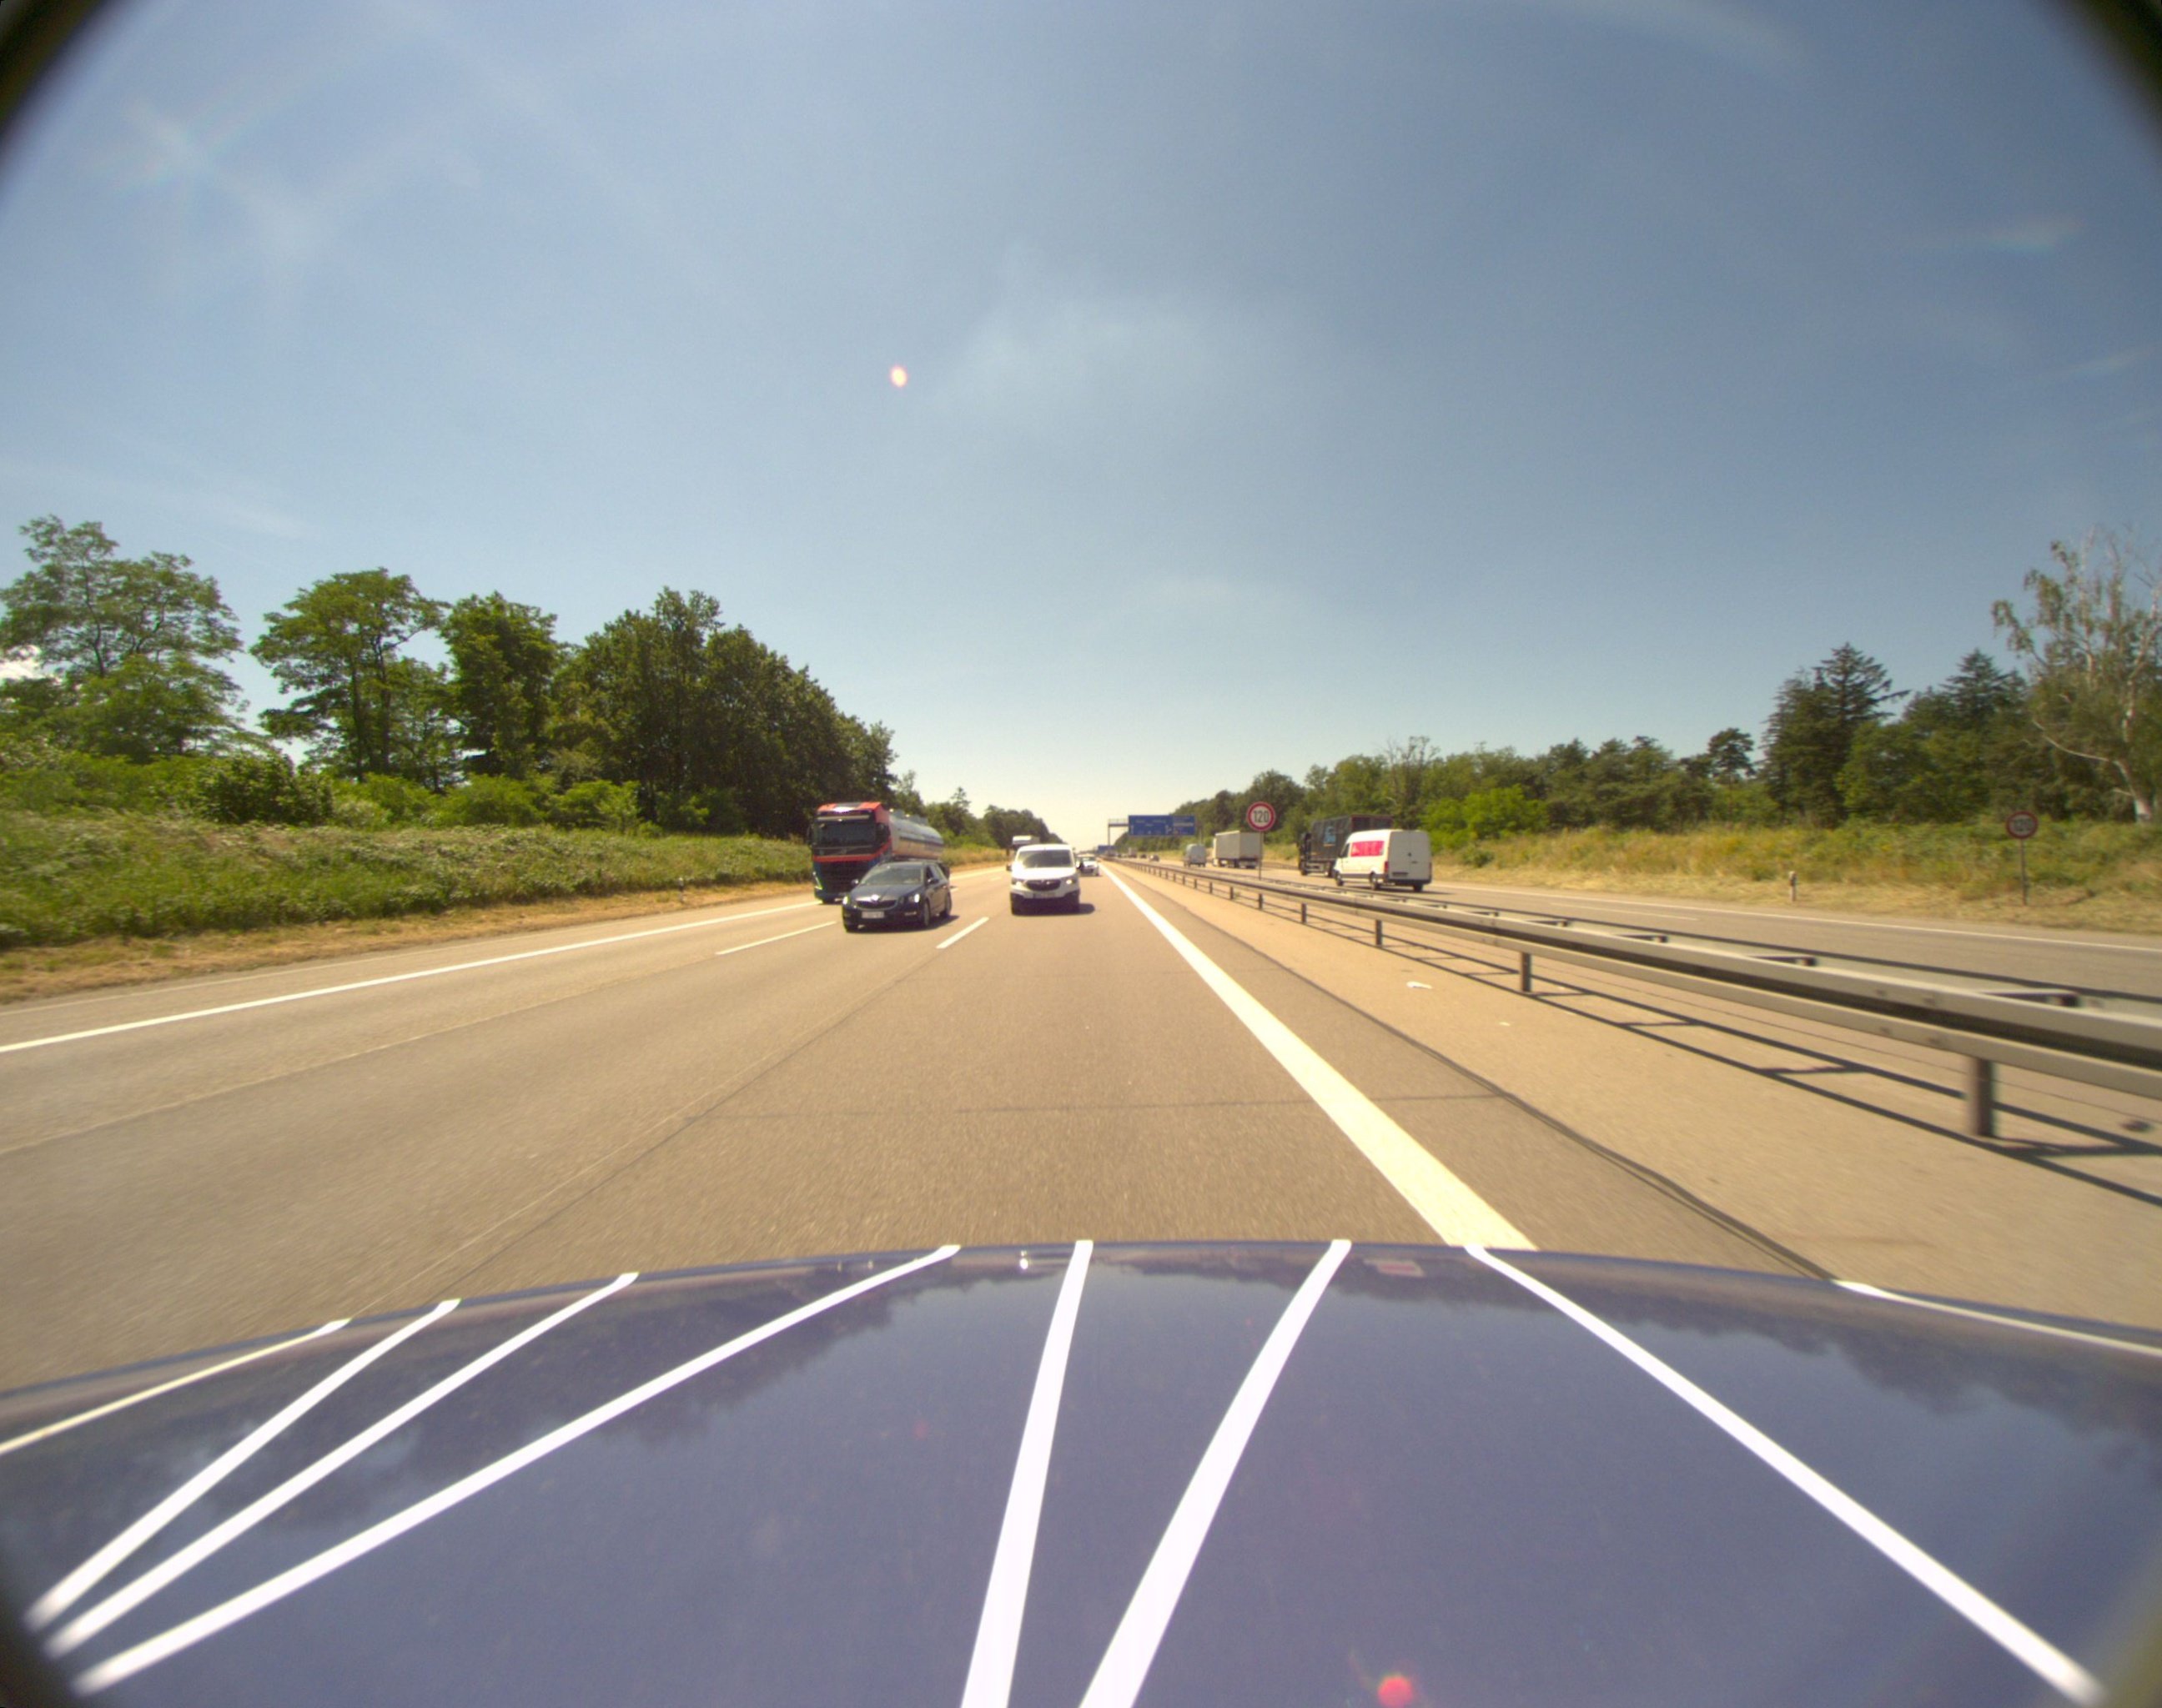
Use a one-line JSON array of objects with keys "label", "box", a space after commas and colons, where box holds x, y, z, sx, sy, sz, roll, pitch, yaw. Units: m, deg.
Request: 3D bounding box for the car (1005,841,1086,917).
[{"label": "car", "box": [-0.863, 0.606, 21.394, 1.870, 1.807, 4.941, -2, 0, 1]}]

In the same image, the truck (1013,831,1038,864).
[{"label": "truck", "box": [-7.121, -0.815, 98.485, 2.603, 3.980, 6.173, -2, 1, 1]}]

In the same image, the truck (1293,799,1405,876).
[{"label": "truck", "box": [17.925, -1.034, 52.126, 3.385, 4.598, 12.186, 1, 1, 1]}]

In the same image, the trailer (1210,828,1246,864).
[{"label": "trailer", "box": [17.953, -0.989, 93.112, 3.163, 4.174, 6.325, 1, 1, 1]}]

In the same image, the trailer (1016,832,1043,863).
[{"label": "trailer", "box": [-7.055, -0.865, 106.000, 2.603, 3.980, 14.079, -2, 0, 1]}]

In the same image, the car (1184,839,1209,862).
[{"label": "car", "box": [13.488, -0.367, 89.221, 1.998, 2.555, 6.389, 1, 0, 1]}]

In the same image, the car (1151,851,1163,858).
[{"label": "car", "box": [15.488, 0.020, 154.474, 1.967, 1.420, 5.289, 1, 0, 0]}]

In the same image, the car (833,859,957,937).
[{"label": "car", "box": [-4.202, 0.929, 17.865, 1.806, 1.475, 4.271, -2, 0, 0]}]

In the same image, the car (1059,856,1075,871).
[{"label": "car", "box": [-1.846, 1.267, 104.008, 1.998, 2.002, 4.000, -2, 0, 1]}]

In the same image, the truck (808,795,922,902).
[{"label": "truck", "box": [-8.306, -0.199, 30.062, 2.535, 3.712, 6.098, -2, 1, 1]}]

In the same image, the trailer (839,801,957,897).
[{"label": "trailer", "box": [-8.228, -0.240, 36.055, 2.535, 3.712, 11.548, -2, 0, 1]}]

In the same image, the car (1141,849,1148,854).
[{"label": "car", "box": [20.349, -0.735, 244.076, 1.836, 1.545, 4.949, 1, 0, 0]}]

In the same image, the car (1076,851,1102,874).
[{"label": "car", "box": [0.531, 0.562, 50.916, 1.581, 1.412, 3.352, -2, 0, 1]}]

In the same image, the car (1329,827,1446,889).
[{"label": "car", "box": [13.382, 0.135, 33.865, 2.370, 2.434, 7.132, 1, 0, 1]}]

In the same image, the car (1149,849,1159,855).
[{"label": "car", "box": [18.710, -0.488, 195.642, 1.967, 1.516, 5.289, 1, 0, 0]}]

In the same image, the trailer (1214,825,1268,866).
[{"label": "trailer", "box": [17.862, -0.941, 86.044, 3.163, 4.174, 14.125, 1, 0, 1]}]

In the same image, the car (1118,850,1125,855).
[{"label": "car", "box": [13.615, -0.642, 257.360, 1.967, 1.708, 5.289, 1, 0, 0]}]
